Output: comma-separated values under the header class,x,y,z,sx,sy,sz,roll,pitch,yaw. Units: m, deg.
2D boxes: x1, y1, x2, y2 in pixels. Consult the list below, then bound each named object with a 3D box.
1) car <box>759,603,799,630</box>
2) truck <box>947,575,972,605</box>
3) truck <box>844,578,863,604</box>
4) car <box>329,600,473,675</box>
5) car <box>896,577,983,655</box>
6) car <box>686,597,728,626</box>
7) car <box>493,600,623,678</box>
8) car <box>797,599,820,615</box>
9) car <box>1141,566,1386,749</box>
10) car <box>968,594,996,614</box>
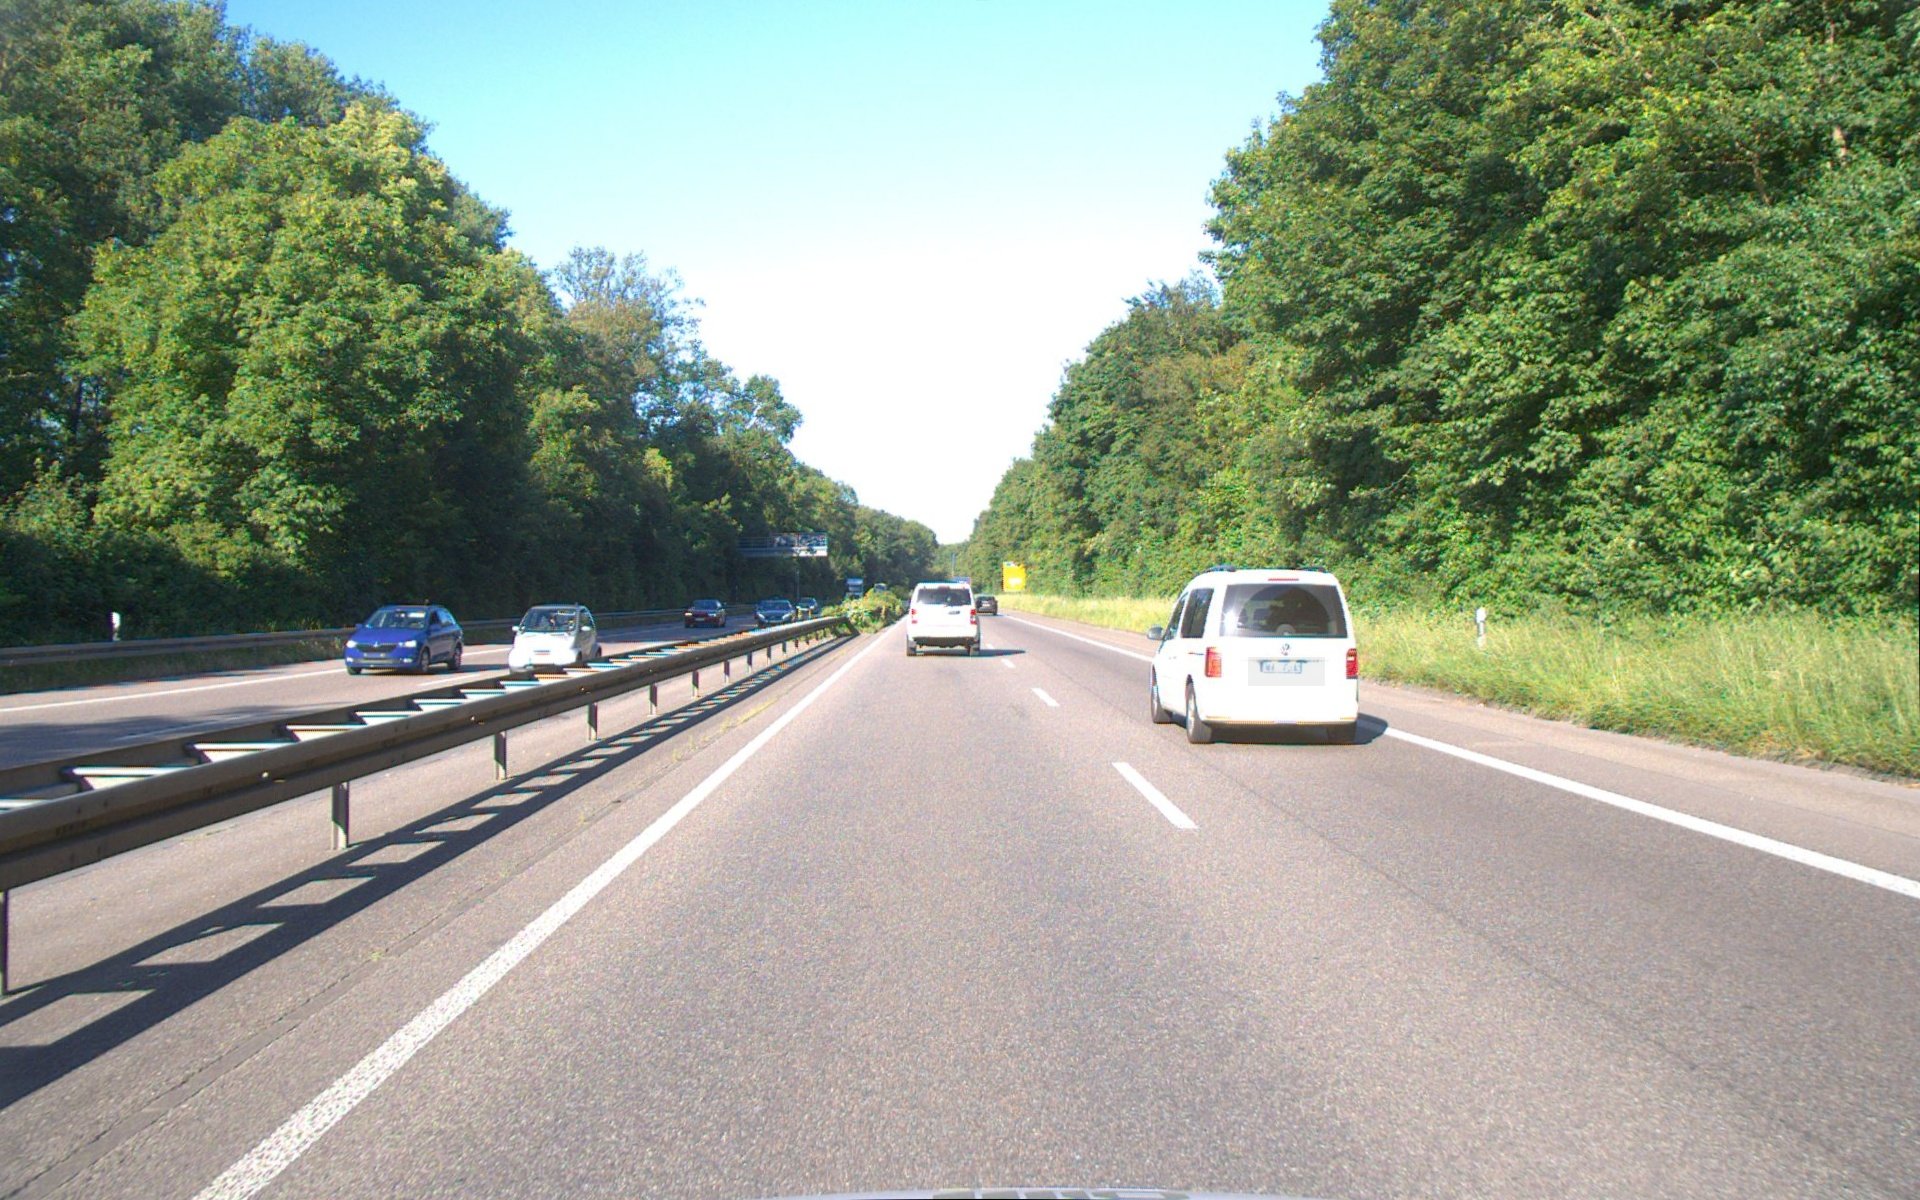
class,x,y,z,sx,sy,sz,roll,pitch,yaw
car,-9.614,0.861,88.084,1.798,1.380,4.473,0,0,-2
truck,-0.064,-1.403,236.716,3.425,4.245,8.860,-1,0,-1
truck,-16.052,-1.301,249.440,2.706,3.777,7.852,-1,0,-3
car,-12.461,0.789,37.131,1.799,1.567,4.429,0,0,-1
car,-0.558,0.371,41.643,2.044,1.860,3.998,0,0,-3
car,-13.499,0.600,88.259,1.683,1.470,4.227,-1,0,-2
car,-8.751,0.806,36.343,1.839,1.567,4.463,-1,0,-1
car,-13.561,0.659,148.060,1.683,1.380,3.946,1,0,0
car,3.253,0.557,18.609,1.826,1.801,4.468,0,0,-2
car,1.656,0.272,123.120,1.953,1.422,3.999,0,0,-1
